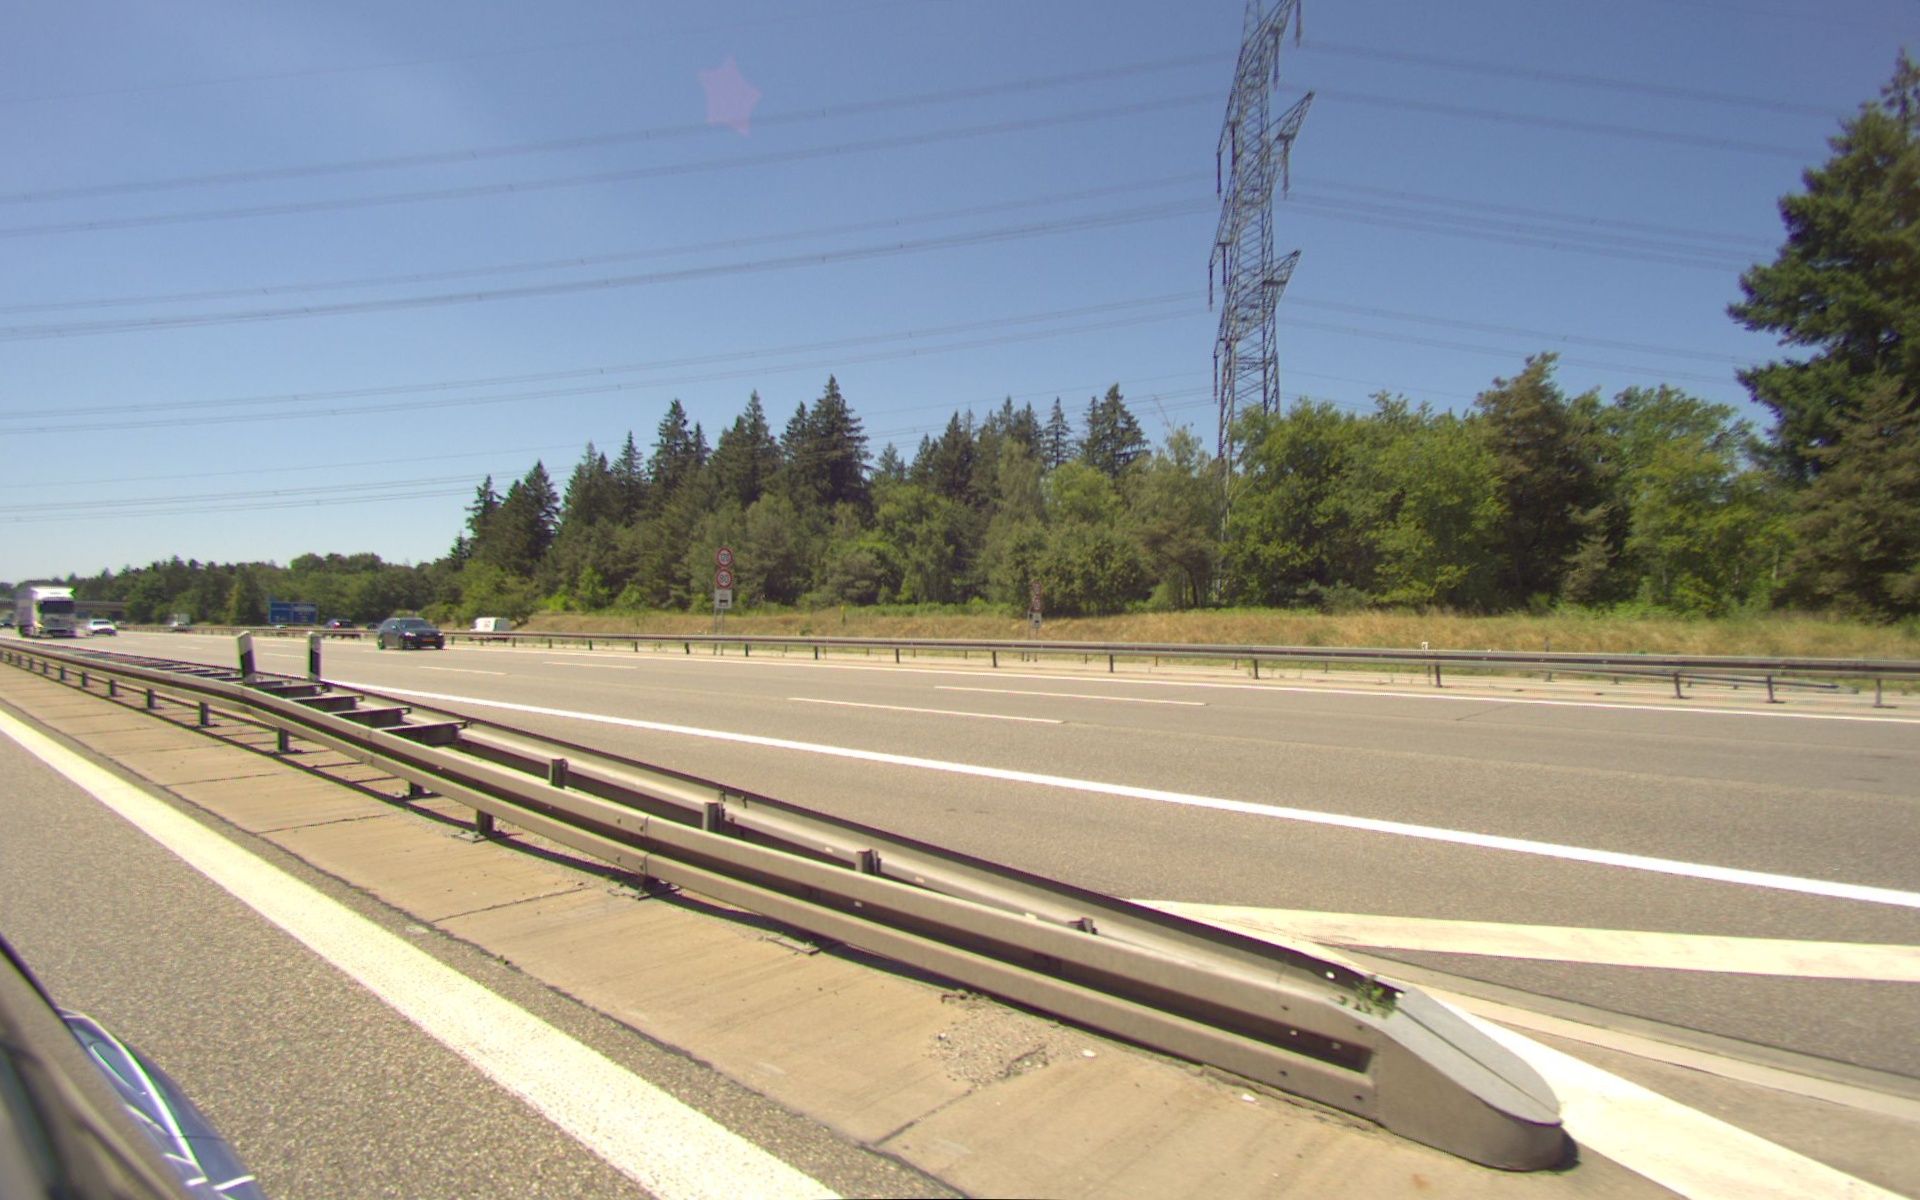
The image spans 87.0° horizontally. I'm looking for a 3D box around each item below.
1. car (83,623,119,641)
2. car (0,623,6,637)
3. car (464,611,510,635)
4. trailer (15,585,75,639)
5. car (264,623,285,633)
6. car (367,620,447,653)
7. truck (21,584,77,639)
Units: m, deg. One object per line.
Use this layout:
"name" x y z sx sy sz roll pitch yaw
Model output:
"car" -78.101 2.916 91.989 5.405 1.515 1.942 -1 -1 43
"car" -155.575 4.848 163.110 5.406 2.048 2.284 -1 -1 44
"car" -51.454 2.522 109.994 6.456 2.534 2.280 -2 -2 43
"trailer" -75.711 1.098 83.641 11.700 4.174 2.941 -2 -2 45
"car" -110.951 4.540 163.726 3.998 1.569 1.899 -1 -2 41
"car" -25.553 1.653 46.683 4.999 1.442 1.812 -2 -2 43
"truck" -71.792 0.989 79.742 2.938 4.174 5.351 2 -2 -45
